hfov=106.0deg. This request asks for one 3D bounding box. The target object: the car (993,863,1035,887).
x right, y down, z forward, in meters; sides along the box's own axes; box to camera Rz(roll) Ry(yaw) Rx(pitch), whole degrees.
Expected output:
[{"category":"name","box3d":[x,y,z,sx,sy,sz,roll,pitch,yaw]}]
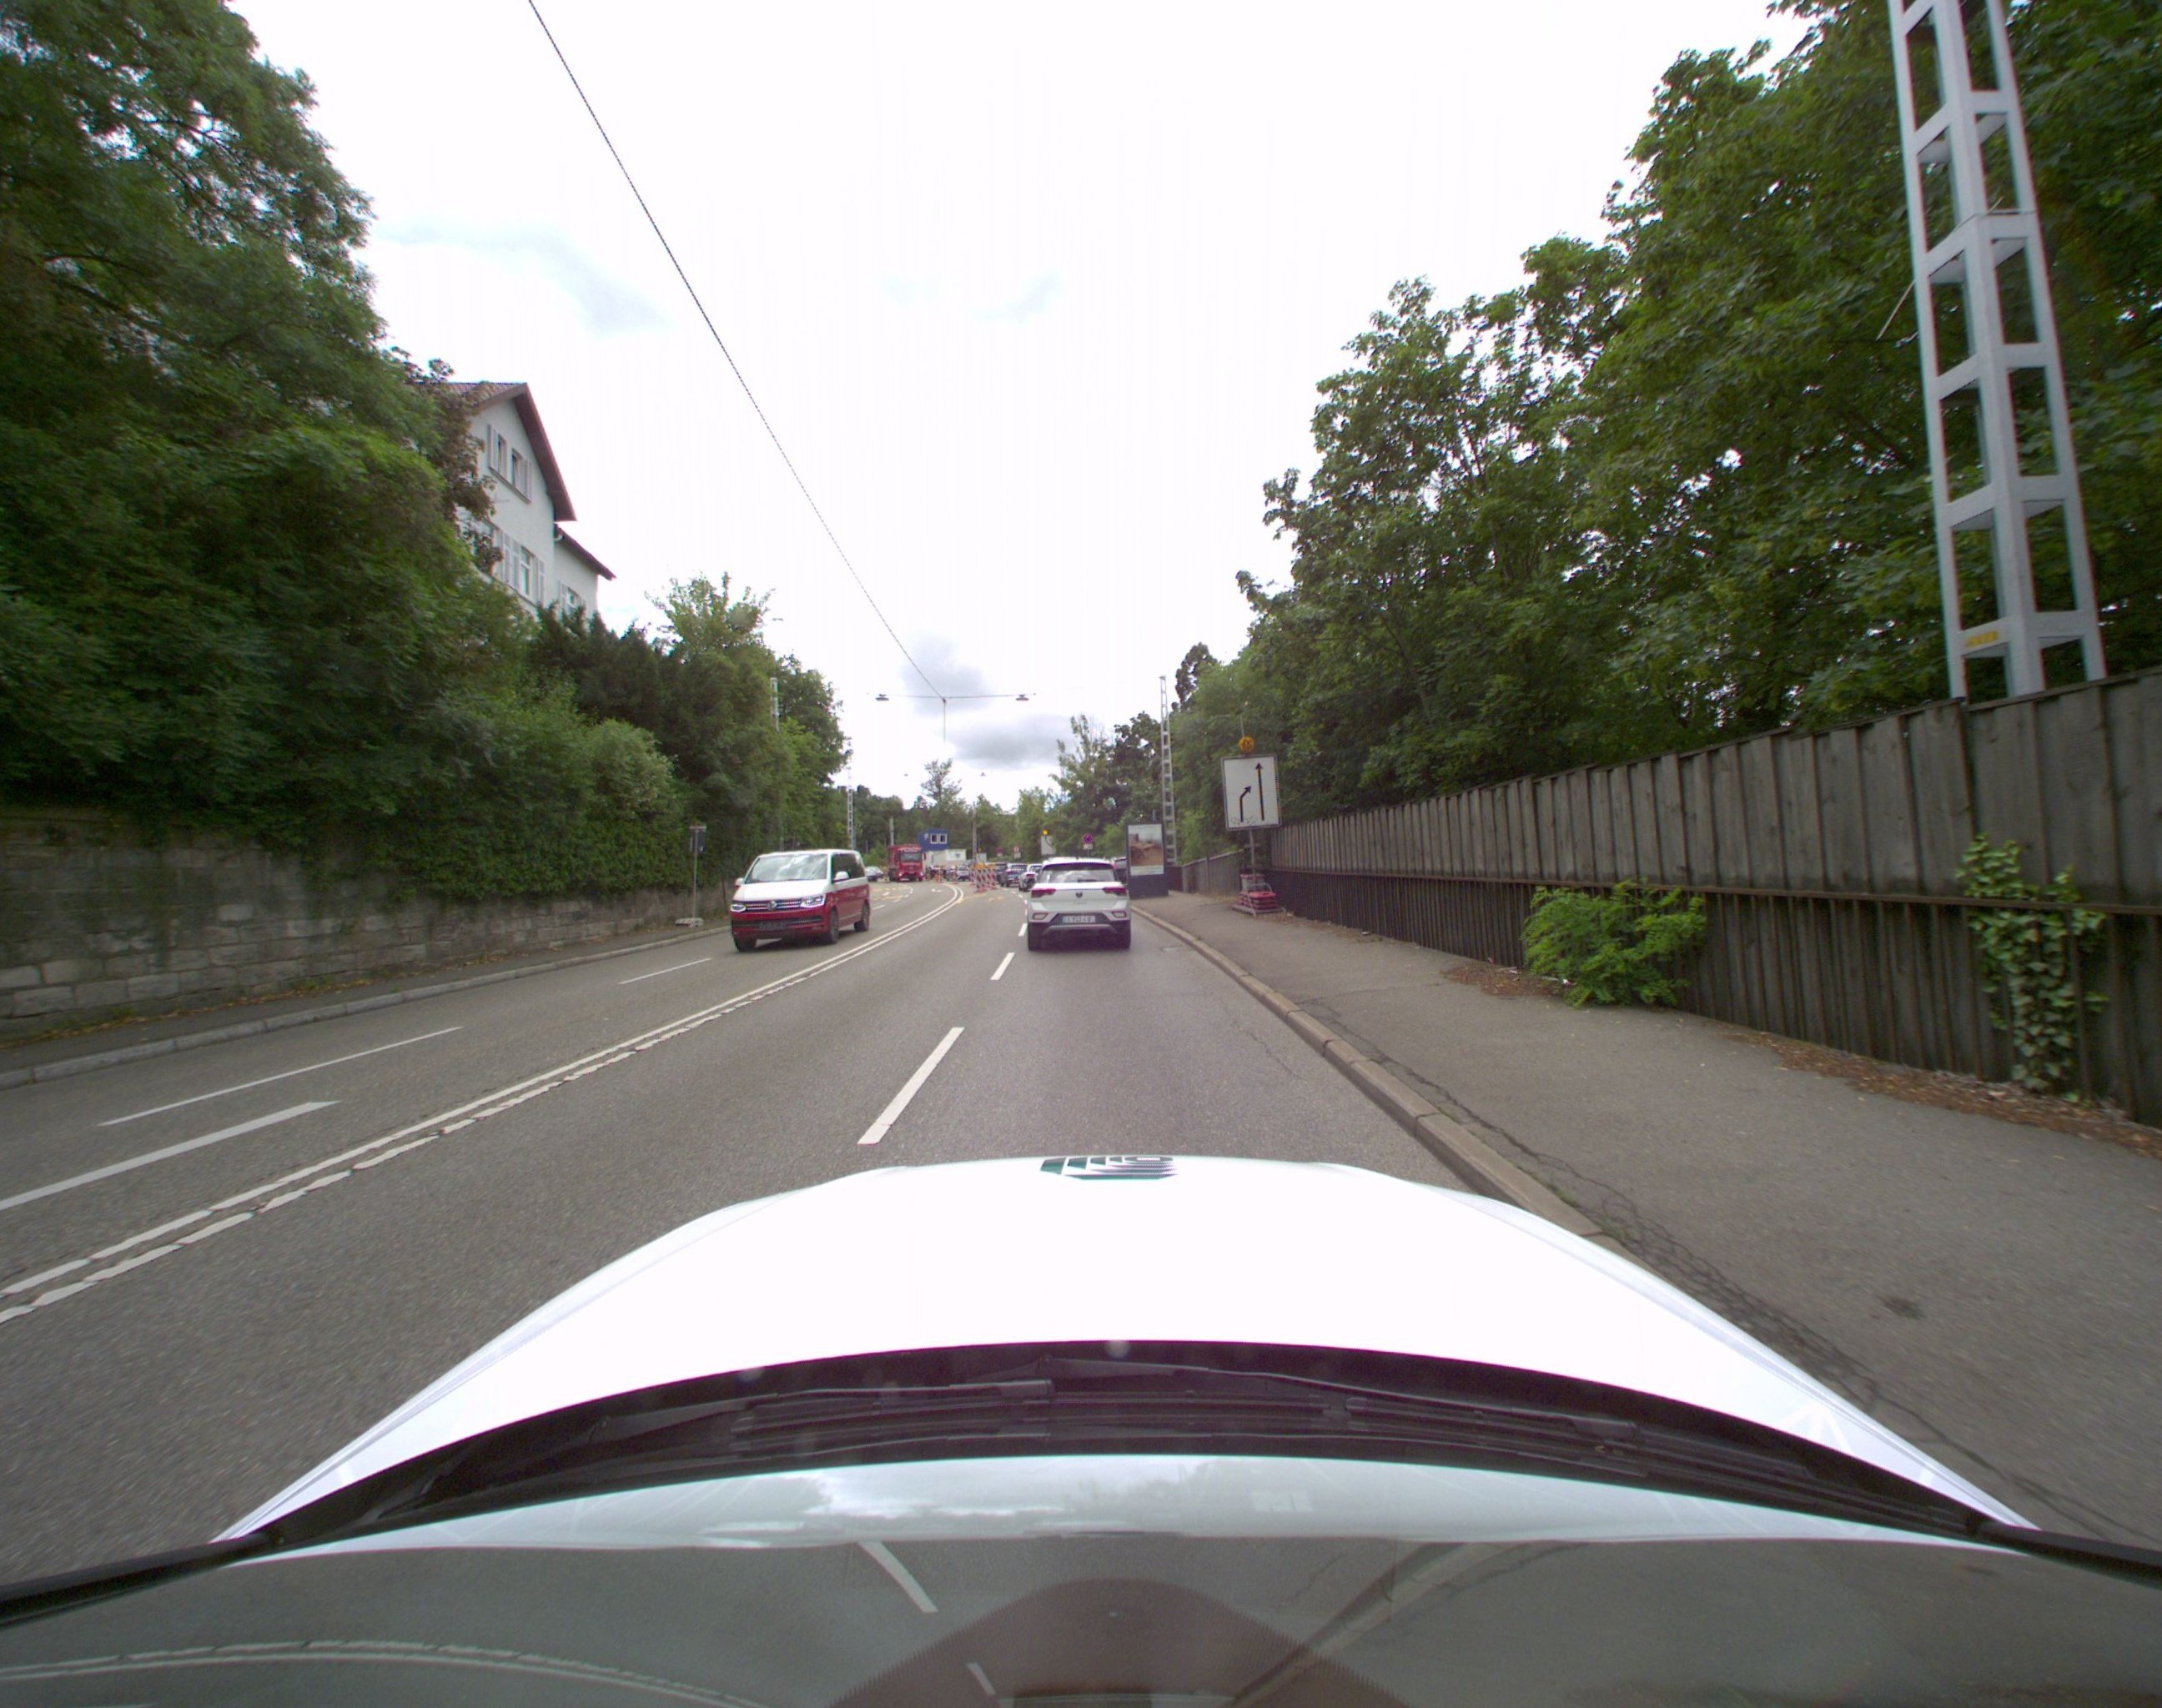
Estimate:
[{"category":"car","box3d":[-4.450,1.413,53.607,1.998,1.414,4.128,-3,-1,-16]}]

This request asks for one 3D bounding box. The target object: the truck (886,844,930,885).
[{"category":"truck","box3d":[-17.285,1.049,80.826,2.955,3.698,9.853,-3,0,-19]}]

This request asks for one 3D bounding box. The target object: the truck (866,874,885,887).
[{"category":"truck","box3d":[-24.436,3.119,96.768,1.669,1.443,3.997,-4,-1,-22]}]

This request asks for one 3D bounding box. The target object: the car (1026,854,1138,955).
[{"category":"car","box3d":[-0.111,0.830,14.997,1.754,1.556,3.789,-2,-1,-4]}]

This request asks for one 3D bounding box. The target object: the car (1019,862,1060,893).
[{"category":"car","box3d":[-2.225,1.215,43.006,1.757,1.471,3.783,-2,-1,-9]}]

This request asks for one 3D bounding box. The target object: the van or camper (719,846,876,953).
[{"category":"van or camper","box3d":[-5.892,0.886,17.616,1.886,1.878,4.758,-4,-1,-4]}]

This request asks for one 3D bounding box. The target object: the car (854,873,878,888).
[{"category":"car","box3d":[-22.289,2.786,84.328,1.903,1.382,3.972,-4,-1,-21]}]

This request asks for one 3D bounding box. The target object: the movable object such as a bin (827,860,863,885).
[{"category":"movable object such as a bin","box3d":[-37.312,2.926,128.701,3.555,3.699,7.418,-3,0,-31]}]

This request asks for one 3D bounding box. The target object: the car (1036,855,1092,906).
[{"category":"car","box3d":[-0.662,0.904,28.900,1.754,1.609,3.790,-2,-1,-4]}]

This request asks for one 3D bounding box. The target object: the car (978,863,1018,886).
[{"category":"car","box3d":[-6.420,1.555,62.629,2.002,1.556,4.120,-2,0,-22]}]

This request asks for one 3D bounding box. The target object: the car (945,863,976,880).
[{"category":"car","box3d":[-11.295,1.664,76.164,2.001,1.450,4.120,-3,-1,-21]}]

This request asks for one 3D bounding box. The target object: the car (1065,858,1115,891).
[{"category":"car","box3d":[0.418,1.093,43.850,1.808,1.463,4.178,-8,0,-10]}]

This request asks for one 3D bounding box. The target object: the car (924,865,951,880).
[{"category":"car","box3d":[-15.273,2.003,86.542,2.001,1.450,4.120,-3,-1,-21]}]
